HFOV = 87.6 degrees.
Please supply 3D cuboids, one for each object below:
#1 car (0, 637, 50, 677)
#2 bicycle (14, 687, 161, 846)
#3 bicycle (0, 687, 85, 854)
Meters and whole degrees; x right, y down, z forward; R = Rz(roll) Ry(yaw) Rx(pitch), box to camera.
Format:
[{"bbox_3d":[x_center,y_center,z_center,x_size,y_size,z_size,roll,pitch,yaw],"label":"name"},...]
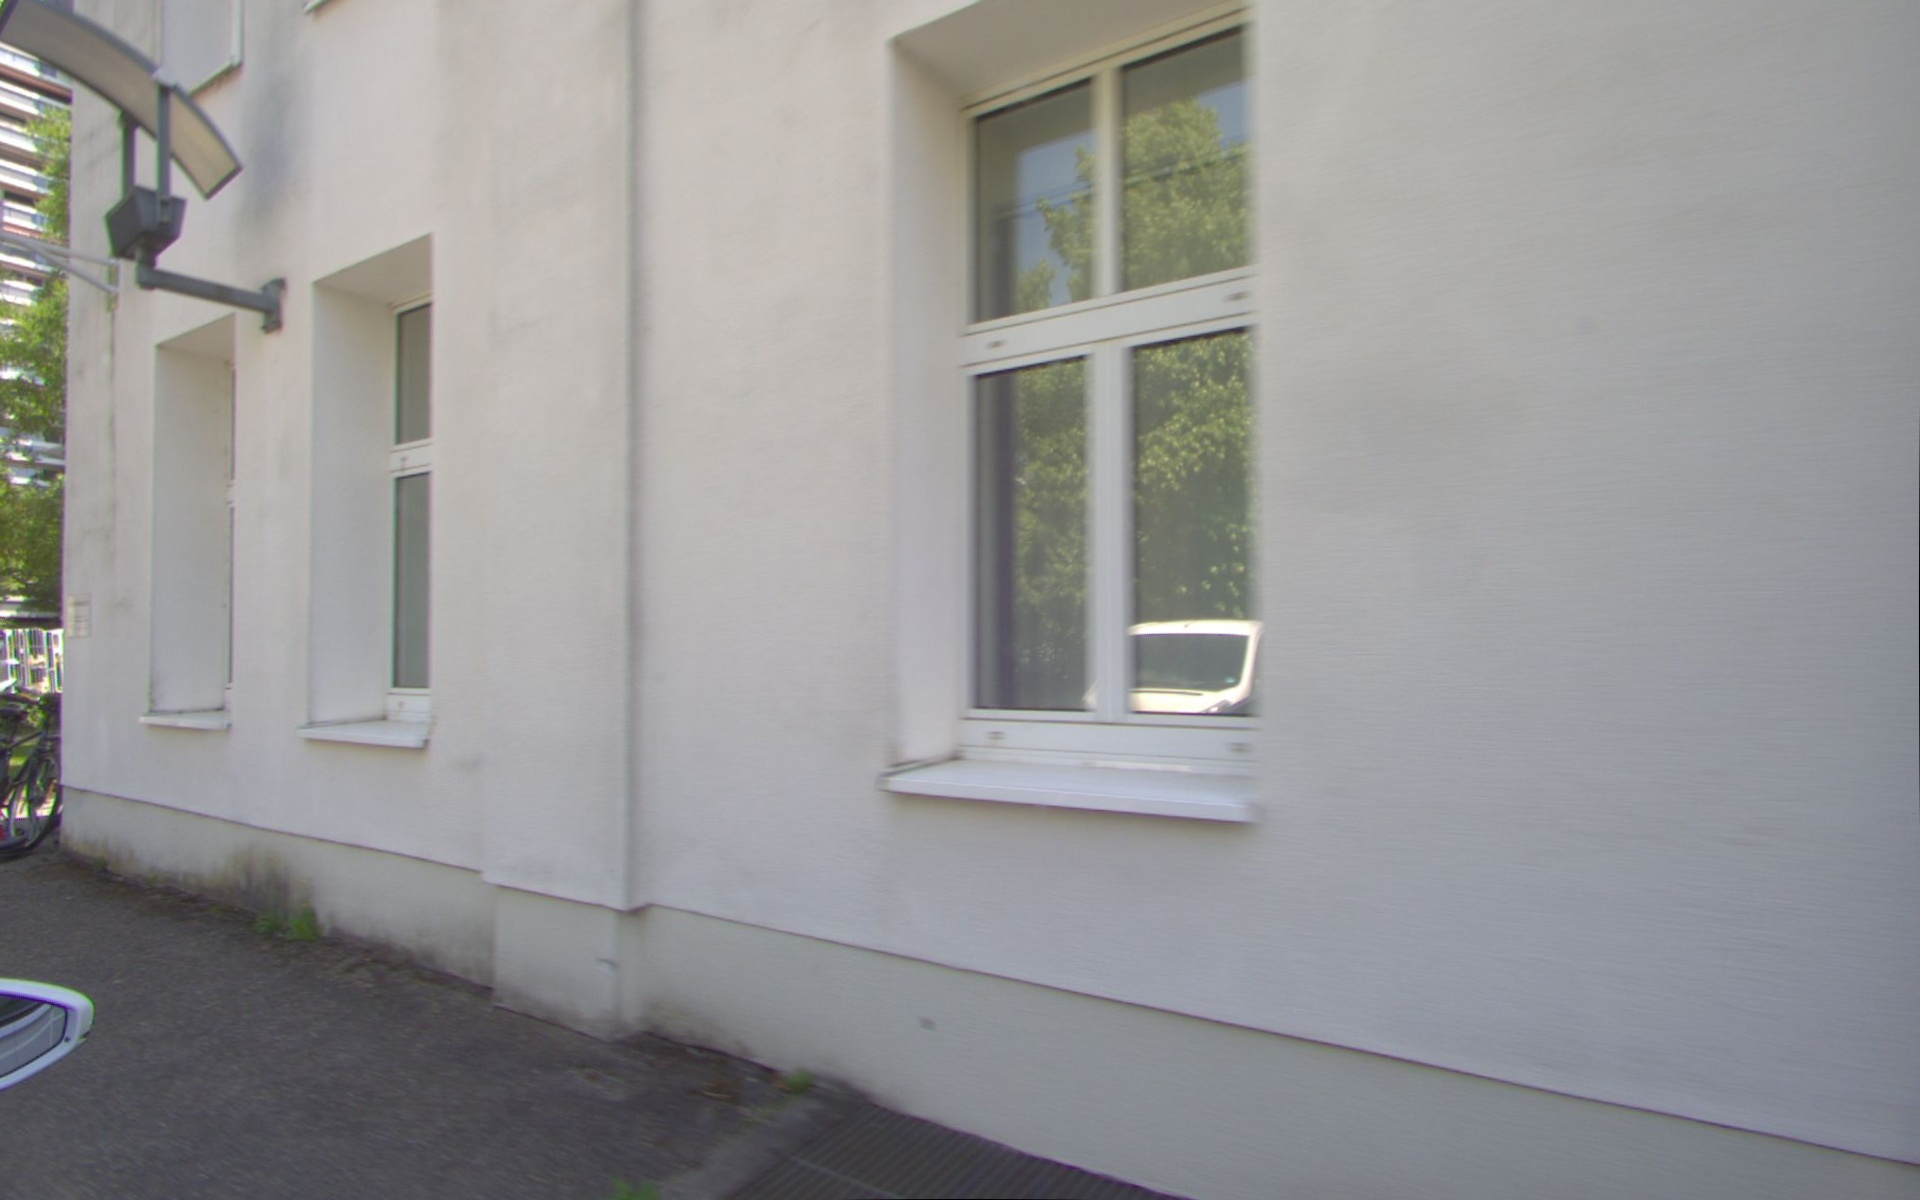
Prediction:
[{"bbox_3d":[-55.605,3.369,59.062,2.164,2.286,4.839,1,-3,-35],"label":"car"},{"bbox_3d":[-6.920,1.262,7.919,1.801,1.115,0.404,-3,-3,34],"label":"bicycle"},{"bbox_3d":[-7.131,1.219,7.498,1.801,1.115,0.404,-3,-3,34],"label":"bicycle"}]
